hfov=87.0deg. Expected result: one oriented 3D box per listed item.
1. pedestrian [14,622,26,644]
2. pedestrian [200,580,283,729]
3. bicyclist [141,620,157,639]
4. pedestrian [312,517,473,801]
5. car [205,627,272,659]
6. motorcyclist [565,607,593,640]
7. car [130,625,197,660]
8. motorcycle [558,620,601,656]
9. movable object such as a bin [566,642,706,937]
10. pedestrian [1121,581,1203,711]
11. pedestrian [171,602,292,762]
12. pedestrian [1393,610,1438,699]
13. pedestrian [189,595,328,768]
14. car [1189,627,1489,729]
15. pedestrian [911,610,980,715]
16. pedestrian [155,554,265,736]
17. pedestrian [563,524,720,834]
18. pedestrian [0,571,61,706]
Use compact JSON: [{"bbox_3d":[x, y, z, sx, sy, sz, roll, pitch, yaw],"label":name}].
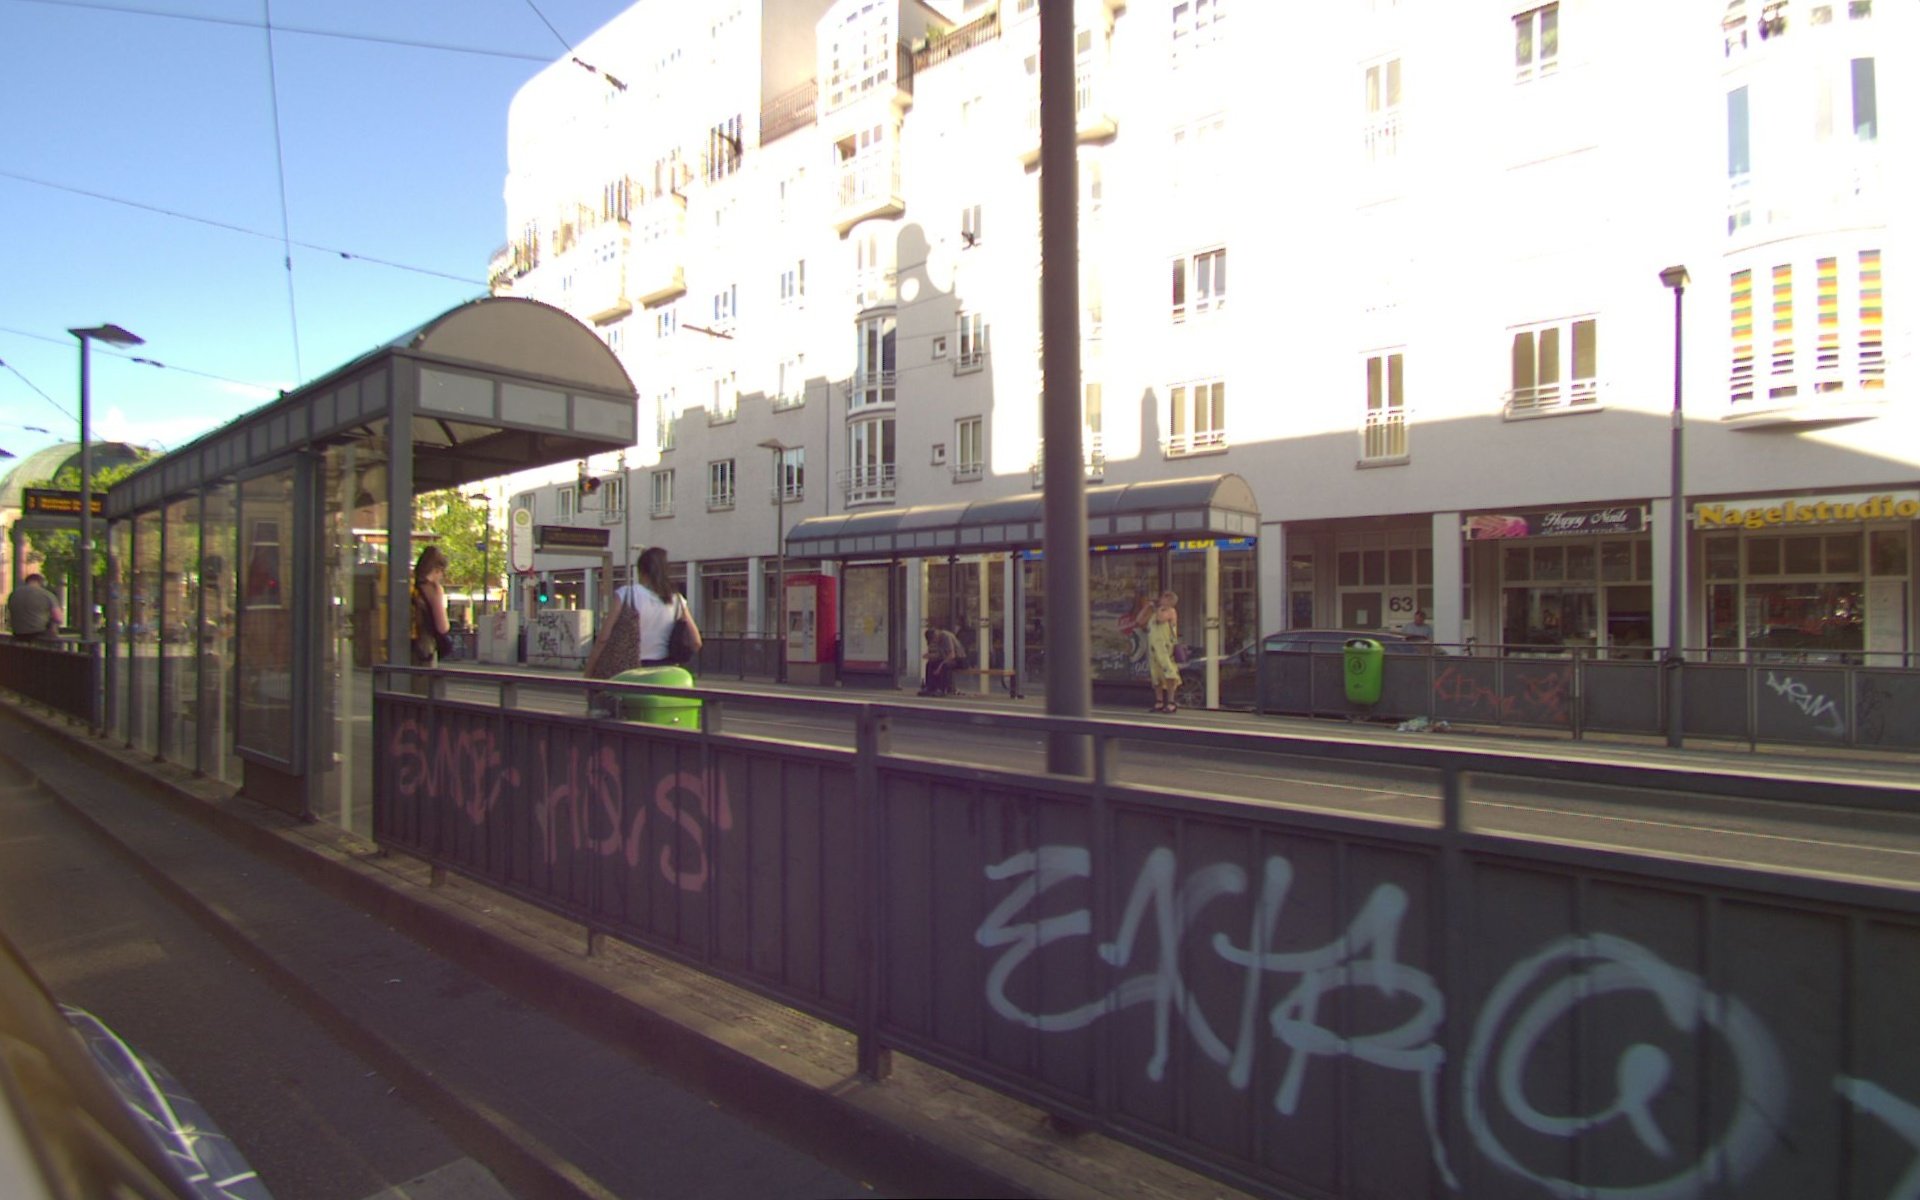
[{"bbox_3d":[-68.019,2.380,73.210,0.858,1.529,0.494,-1,-4,41],"label":"pedestrian"},{"bbox_3d":[-7.814,0.583,11.018,0.577,1.574,0.471,0,-2,-13],"label":"pedestrian"},{"bbox_3d":[-56.419,2.059,70.402,0.988,1.295,0.584,0,-1,31],"label":"bicyclist"},{"bbox_3d":[-3.707,0.371,6.643,0.712,1.764,0.563,0,-2,12],"label":"pedestrian"},{"bbox_3d":[-36.725,2.169,51.467,4.401,1.526,1.711,-1,-1,40],"label":"car"},{"bbox_3d":[-12.527,0.767,33.278,0.827,1.082,0.553,0,1,42],"label":"motorcyclist"},{"bbox_3d":[-46.802,2.435,59.416,4.605,1.925,2.204,-1,-1,40],"label":"car"},{"bbox_3d":[-12.530,1.237,33.295,1.844,1.082,0.553,0,1,42],"label":"motorcycle"},{"bbox_3d":[-1.216,0.672,3.801,0.404,1.015,0.343,-2,-2,42],"label":"movable object such as a bin"},{"bbox_3d":[2.549,0.567,12.763,0.742,1.571,0.724,-2,-2,40],"label":"pedestrian"},{"bbox_3d":[-6.190,0.673,8.603,0.657,1.282,0.703,-2,-2,43],"label":"pedestrian"},{"bbox_3d":[8.552,1.008,19.006,0.596,1.634,0.834,-1,-2,36],"label":"pedestrian"},{"bbox_3d":[-5.588,0.620,8.065,0.719,1.282,0.756,-2,-2,43],"label":"pedestrian"},{"bbox_3d":[6.114,1.181,16.633,4.280,1.460,1.733,-1,-2,42],"label":"car"},{"bbox_3d":[-0.219,0.939,15.496,0.742,1.539,0.724,-2,-2,40],"label":"pedestrian"},{"bbox_3d":[-7.630,0.447,10.326,0.707,1.791,0.566,0,-2,-13],"label":"pedestrian"},{"bbox_3d":[-1.746,0.405,5.555,0.568,1.570,0.614,-1,-2,41],"label":"pedestrian"},{"bbox_3d":[-12.297,0.487,13.363,0.629,1.710,0.934,-1,1,-42],"label":"pedestrian"}]
